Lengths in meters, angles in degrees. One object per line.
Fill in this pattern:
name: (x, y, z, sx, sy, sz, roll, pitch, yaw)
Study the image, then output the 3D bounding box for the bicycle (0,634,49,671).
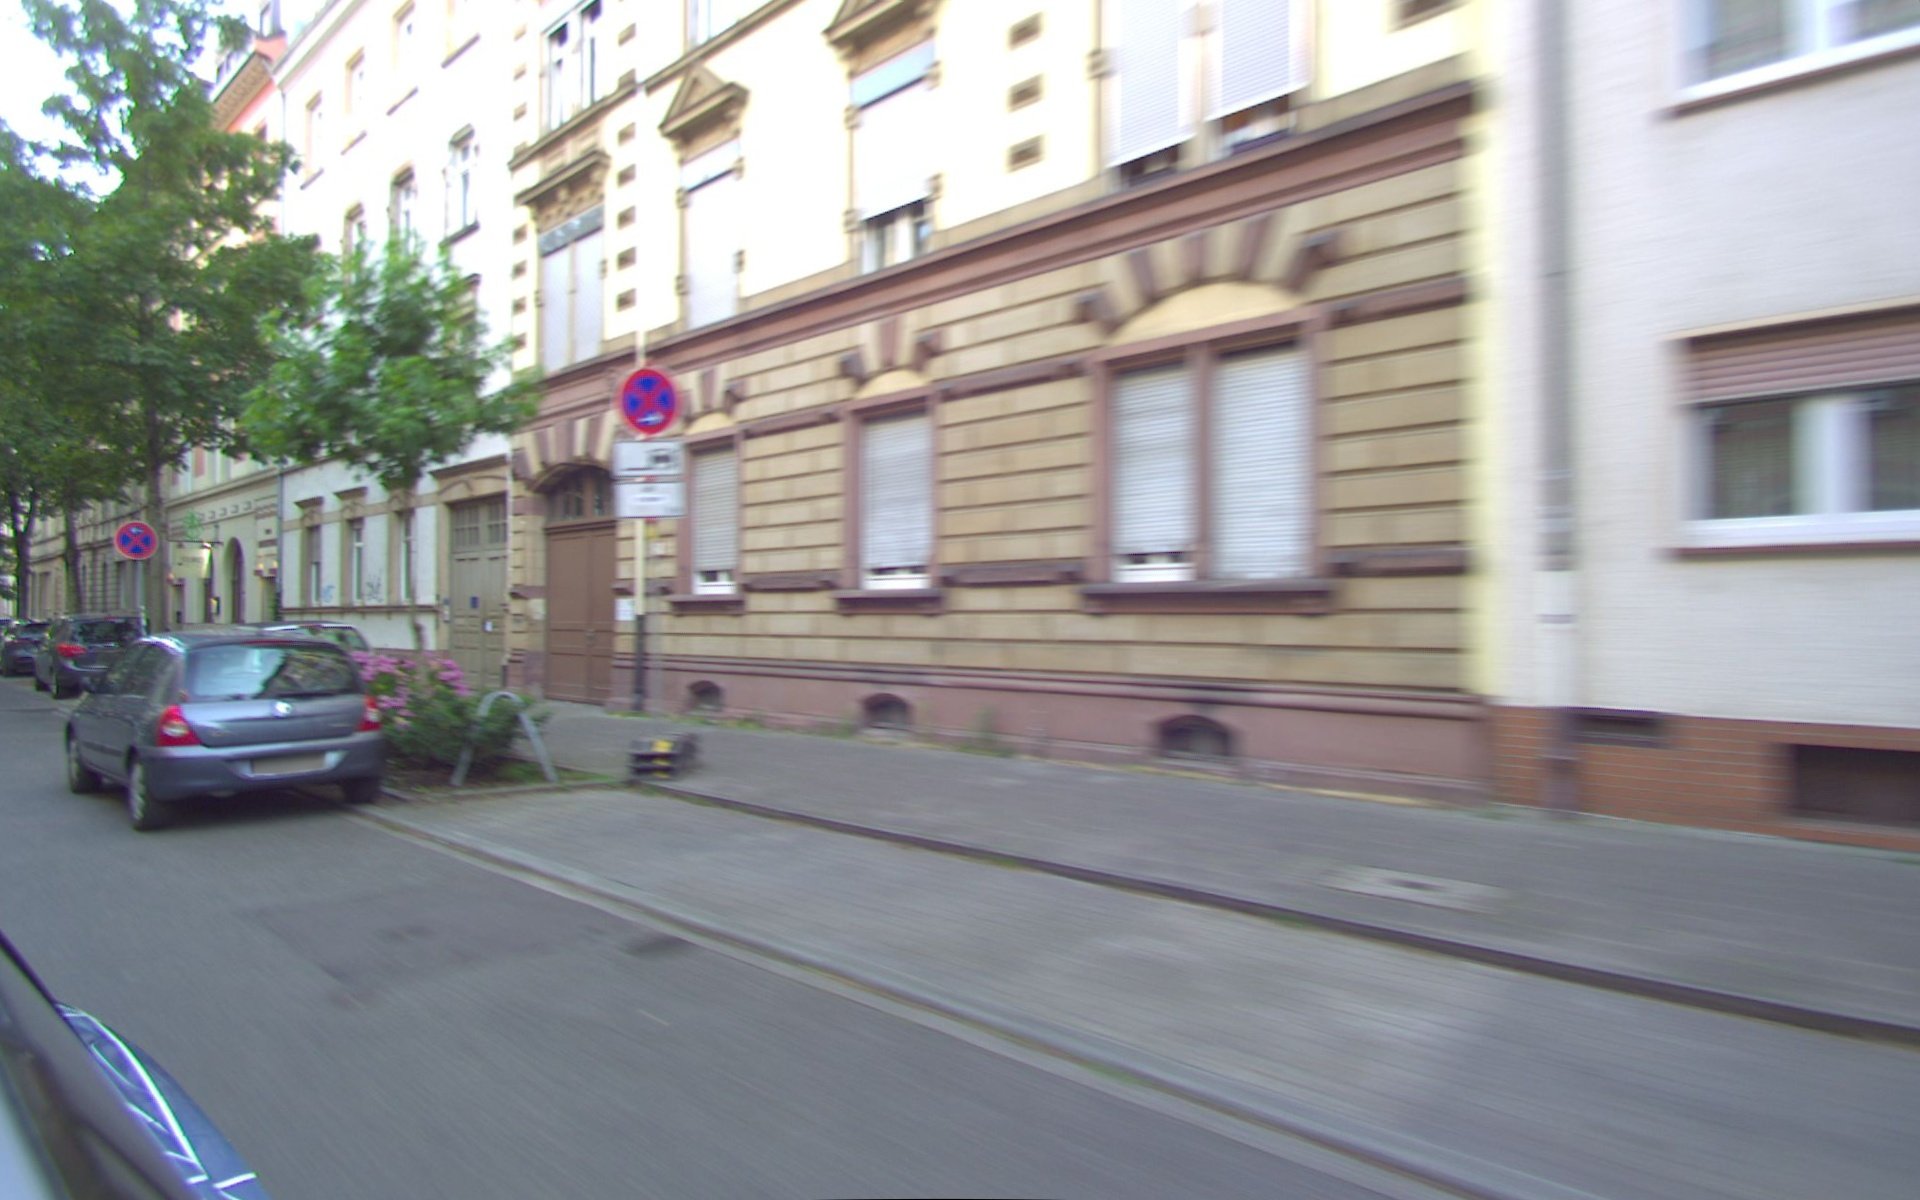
bicycle: (-27.895, 1.563, 29.698, 0.430, 1.011, 1.666, -1, 1, 42)

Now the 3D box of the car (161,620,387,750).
car: (-9.129, 1.017, 13.370, 3.563, 1.447, 1.571, -1, 0, 40)

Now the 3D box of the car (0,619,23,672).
car: (-31.536, 1.458, 32.605, 3.861, 1.619, 1.658, -1, -1, 43)

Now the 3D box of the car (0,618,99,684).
car: (-24.105, 1.261, 26.410, 4.682, 1.529, 1.787, -1, 0, 41)

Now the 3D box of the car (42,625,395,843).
car: (-6.341, 0.929, 8.509, 3.750, 1.431, 1.564, -1, -2, 40)

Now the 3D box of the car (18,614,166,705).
car: (-17.430, 1.131, 20.262, 4.076, 1.592, 1.688, -2, 0, 42)

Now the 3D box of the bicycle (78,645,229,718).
bicycle: (-12.815, 1.285, 16.123, 1.799, 1.093, 0.669, 0, 0, -6)
